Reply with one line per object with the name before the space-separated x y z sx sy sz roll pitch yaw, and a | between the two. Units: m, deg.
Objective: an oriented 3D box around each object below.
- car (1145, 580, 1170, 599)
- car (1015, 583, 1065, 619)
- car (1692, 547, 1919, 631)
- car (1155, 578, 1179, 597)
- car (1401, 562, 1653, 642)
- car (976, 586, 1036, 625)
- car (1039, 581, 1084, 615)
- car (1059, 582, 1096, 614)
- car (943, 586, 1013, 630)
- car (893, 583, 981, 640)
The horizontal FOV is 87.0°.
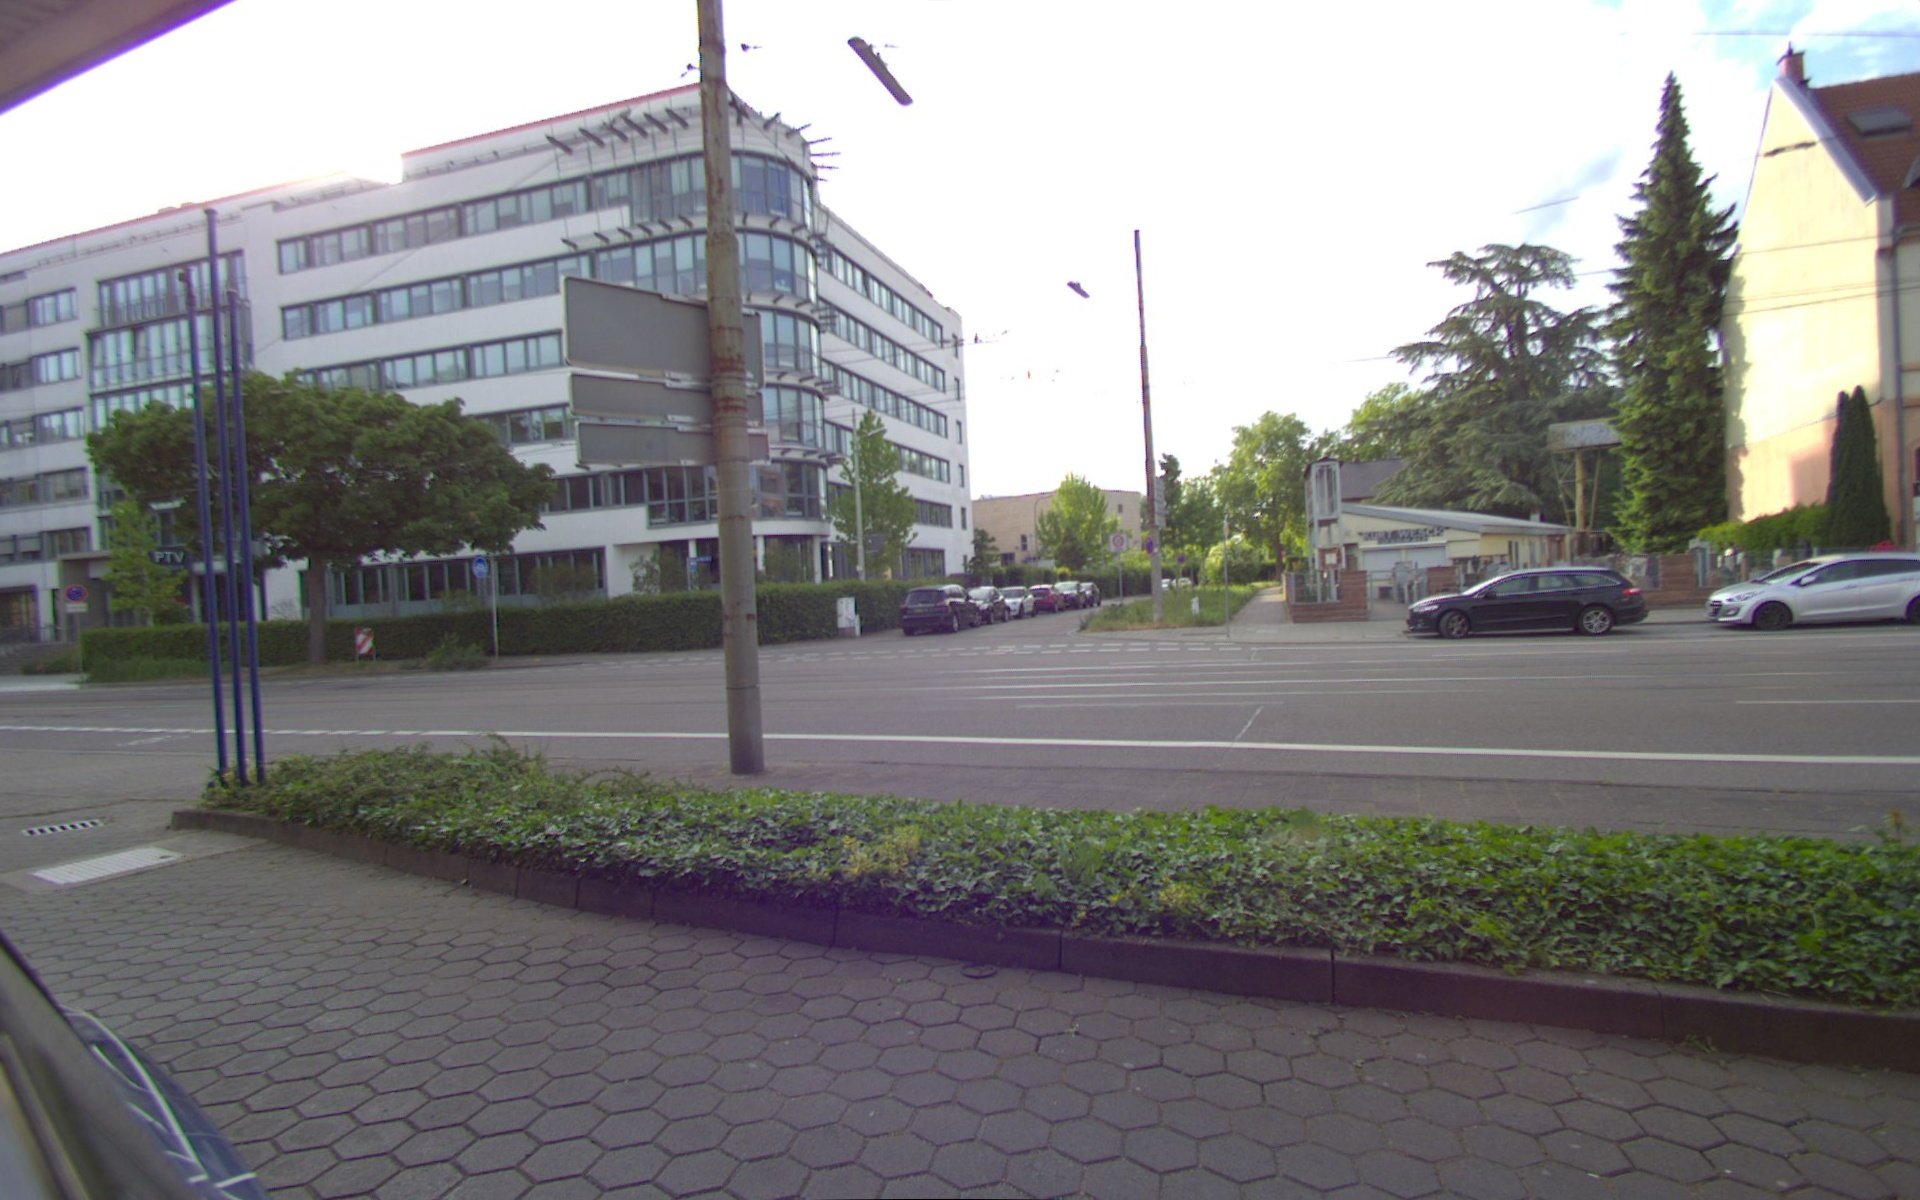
car | 19.697 -1.079 100.791 1.849 1.748 4.247 -3 0 19
car | 4.178 0.024 52.490 1.929 1.650 4.274 -3 0 13
car | 18.427 -0.250 21.381 4.424 1.494 1.713 -3 1 21
car | 21.689 -1.329 106.161 1.849 1.748 4.246 -3 0 19
car | 12.915 0.051 23.442 4.742 1.511 2.001 -3 1 21
car | 2.145 0.215 45.784 1.929 1.530 4.274 -3 0 13
car | 5.837 -0.148 57.719 1.929 1.748 4.512 -3 0 13
car | 7.290 -0.158 62.494 1.731 1.748 4.030 -3 0 13
car | 0.797 0.291 40.973 1.929 1.551 4.274 -3 0 13
car | -0.722 0.360 35.413 1.994 1.704 4.274 -3 1 13
